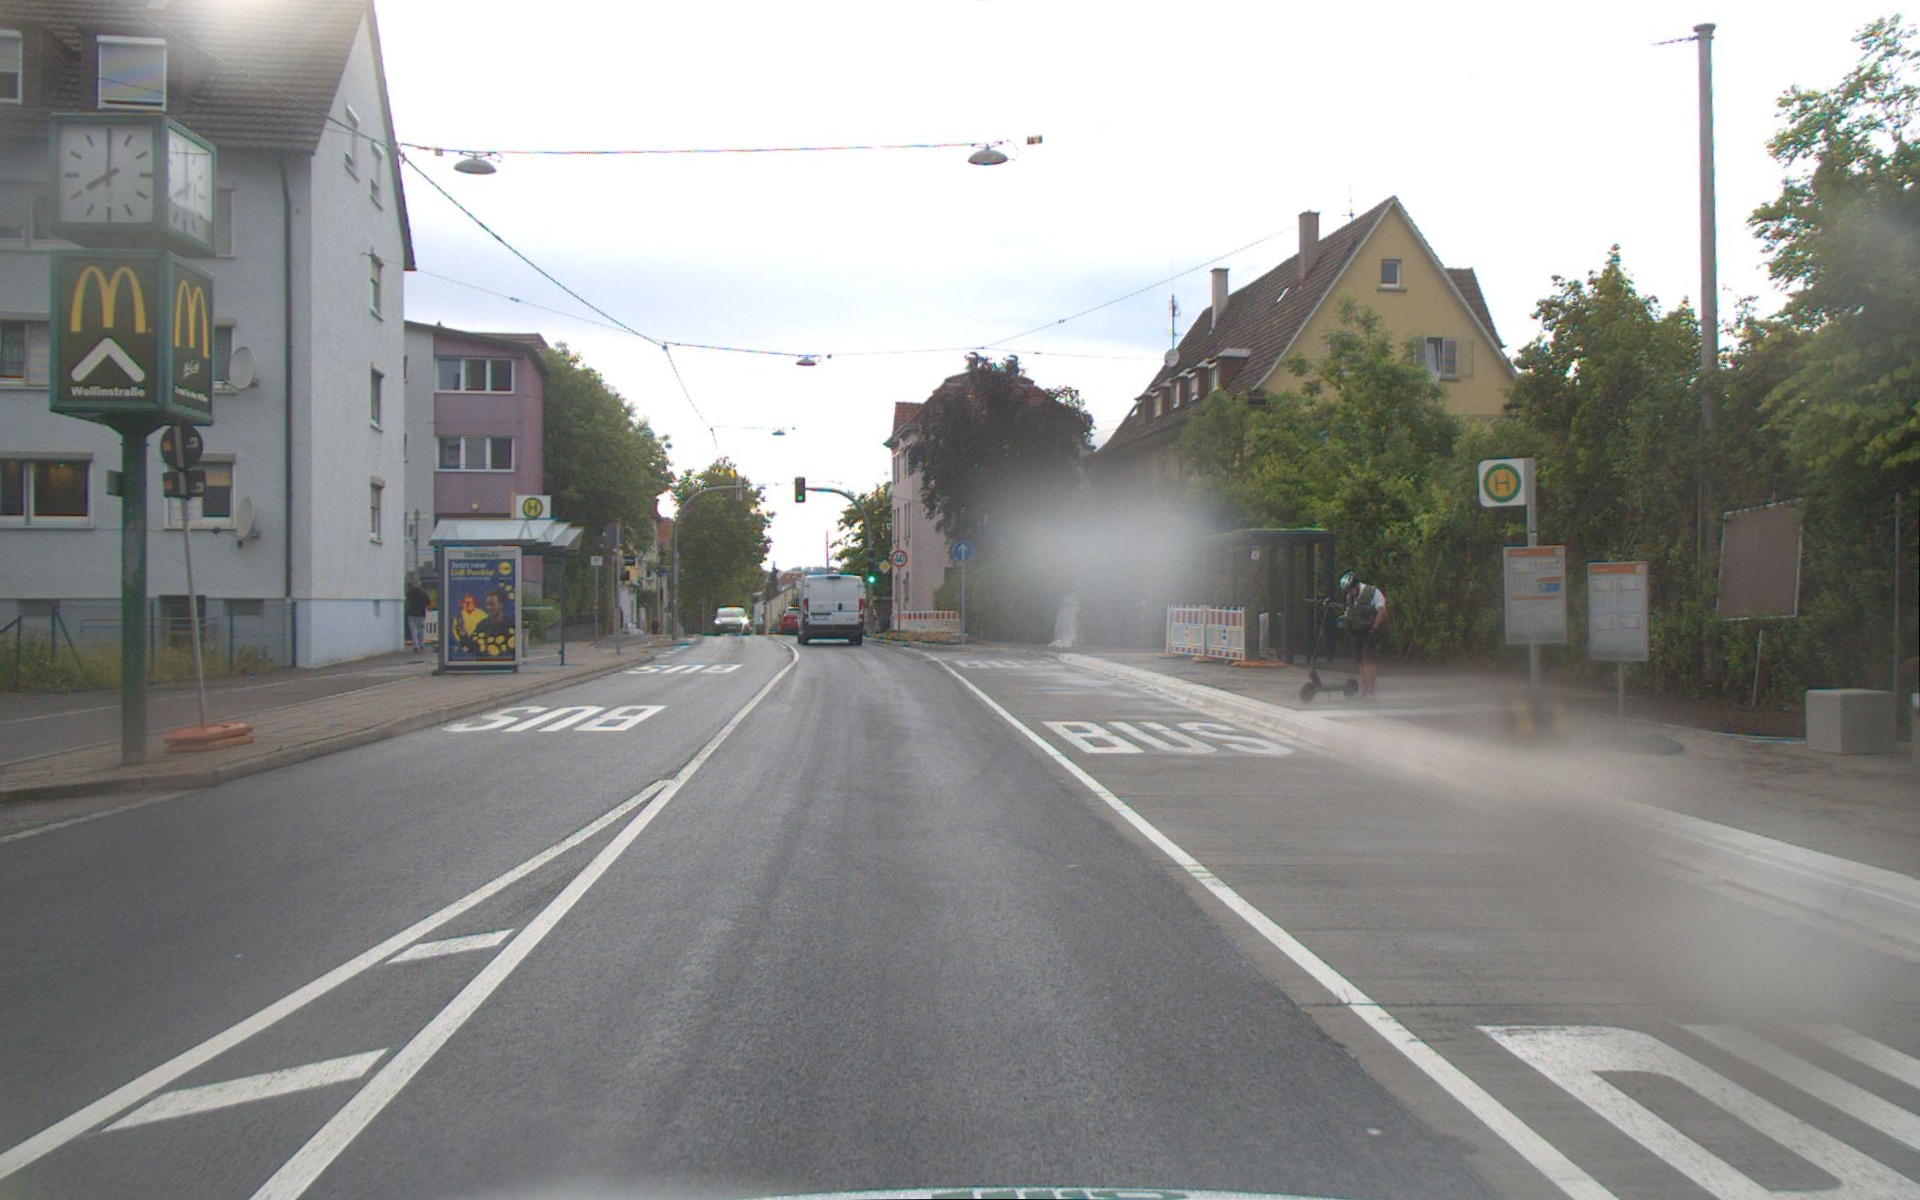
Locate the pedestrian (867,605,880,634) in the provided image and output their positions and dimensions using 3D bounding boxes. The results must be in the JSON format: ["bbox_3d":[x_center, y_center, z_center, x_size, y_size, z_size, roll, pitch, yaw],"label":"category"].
[{"bbox_3d":[-5.403,1.210,103.648,0.649,1.772,0.826,-1,-1,-13],"label":"pedestrian"}]

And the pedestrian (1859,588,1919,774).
[{"bbox_3d":[7.362,0.583,12.356,1.058,1.353,0.798,0,0,-40],"label":"pedestrian"}]

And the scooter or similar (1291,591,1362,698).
[{"bbox_3d":[4.709,0.551,21.210,1.233,1.338,0.228,0,0,-44],"label":"scooter or similar"}]

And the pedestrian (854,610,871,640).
[{"bbox_3d":[-5.849,1.517,99.025,0.631,1.740,0.738,-2,-1,-42],"label":"pedestrian"}]

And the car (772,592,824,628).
[{"bbox_3d":[-8.465,0.533,86.153,2.304,1.758,4.765,0,-1,-10],"label":"car"}]

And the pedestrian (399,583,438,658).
[{"bbox_3d":[-13.643,0.497,41.693,0.791,1.853,1.113,1,0,-12],"label":"pedestrian"}]

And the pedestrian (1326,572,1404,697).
[{"bbox_3d":[5.226,0.437,21.347,0.912,1.574,0.537,0,-1,-40],"label":"pedestrian"}]

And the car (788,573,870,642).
[{"bbox_3d":[-4.471,0.256,55.630,2.304,2.198,4.765,0,-1,-10],"label":"car"}]

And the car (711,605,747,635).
[{"bbox_3d":[-11.988,1.032,85.692,1.750,1.478,4.380,0,0,-10],"label":"car"}]
